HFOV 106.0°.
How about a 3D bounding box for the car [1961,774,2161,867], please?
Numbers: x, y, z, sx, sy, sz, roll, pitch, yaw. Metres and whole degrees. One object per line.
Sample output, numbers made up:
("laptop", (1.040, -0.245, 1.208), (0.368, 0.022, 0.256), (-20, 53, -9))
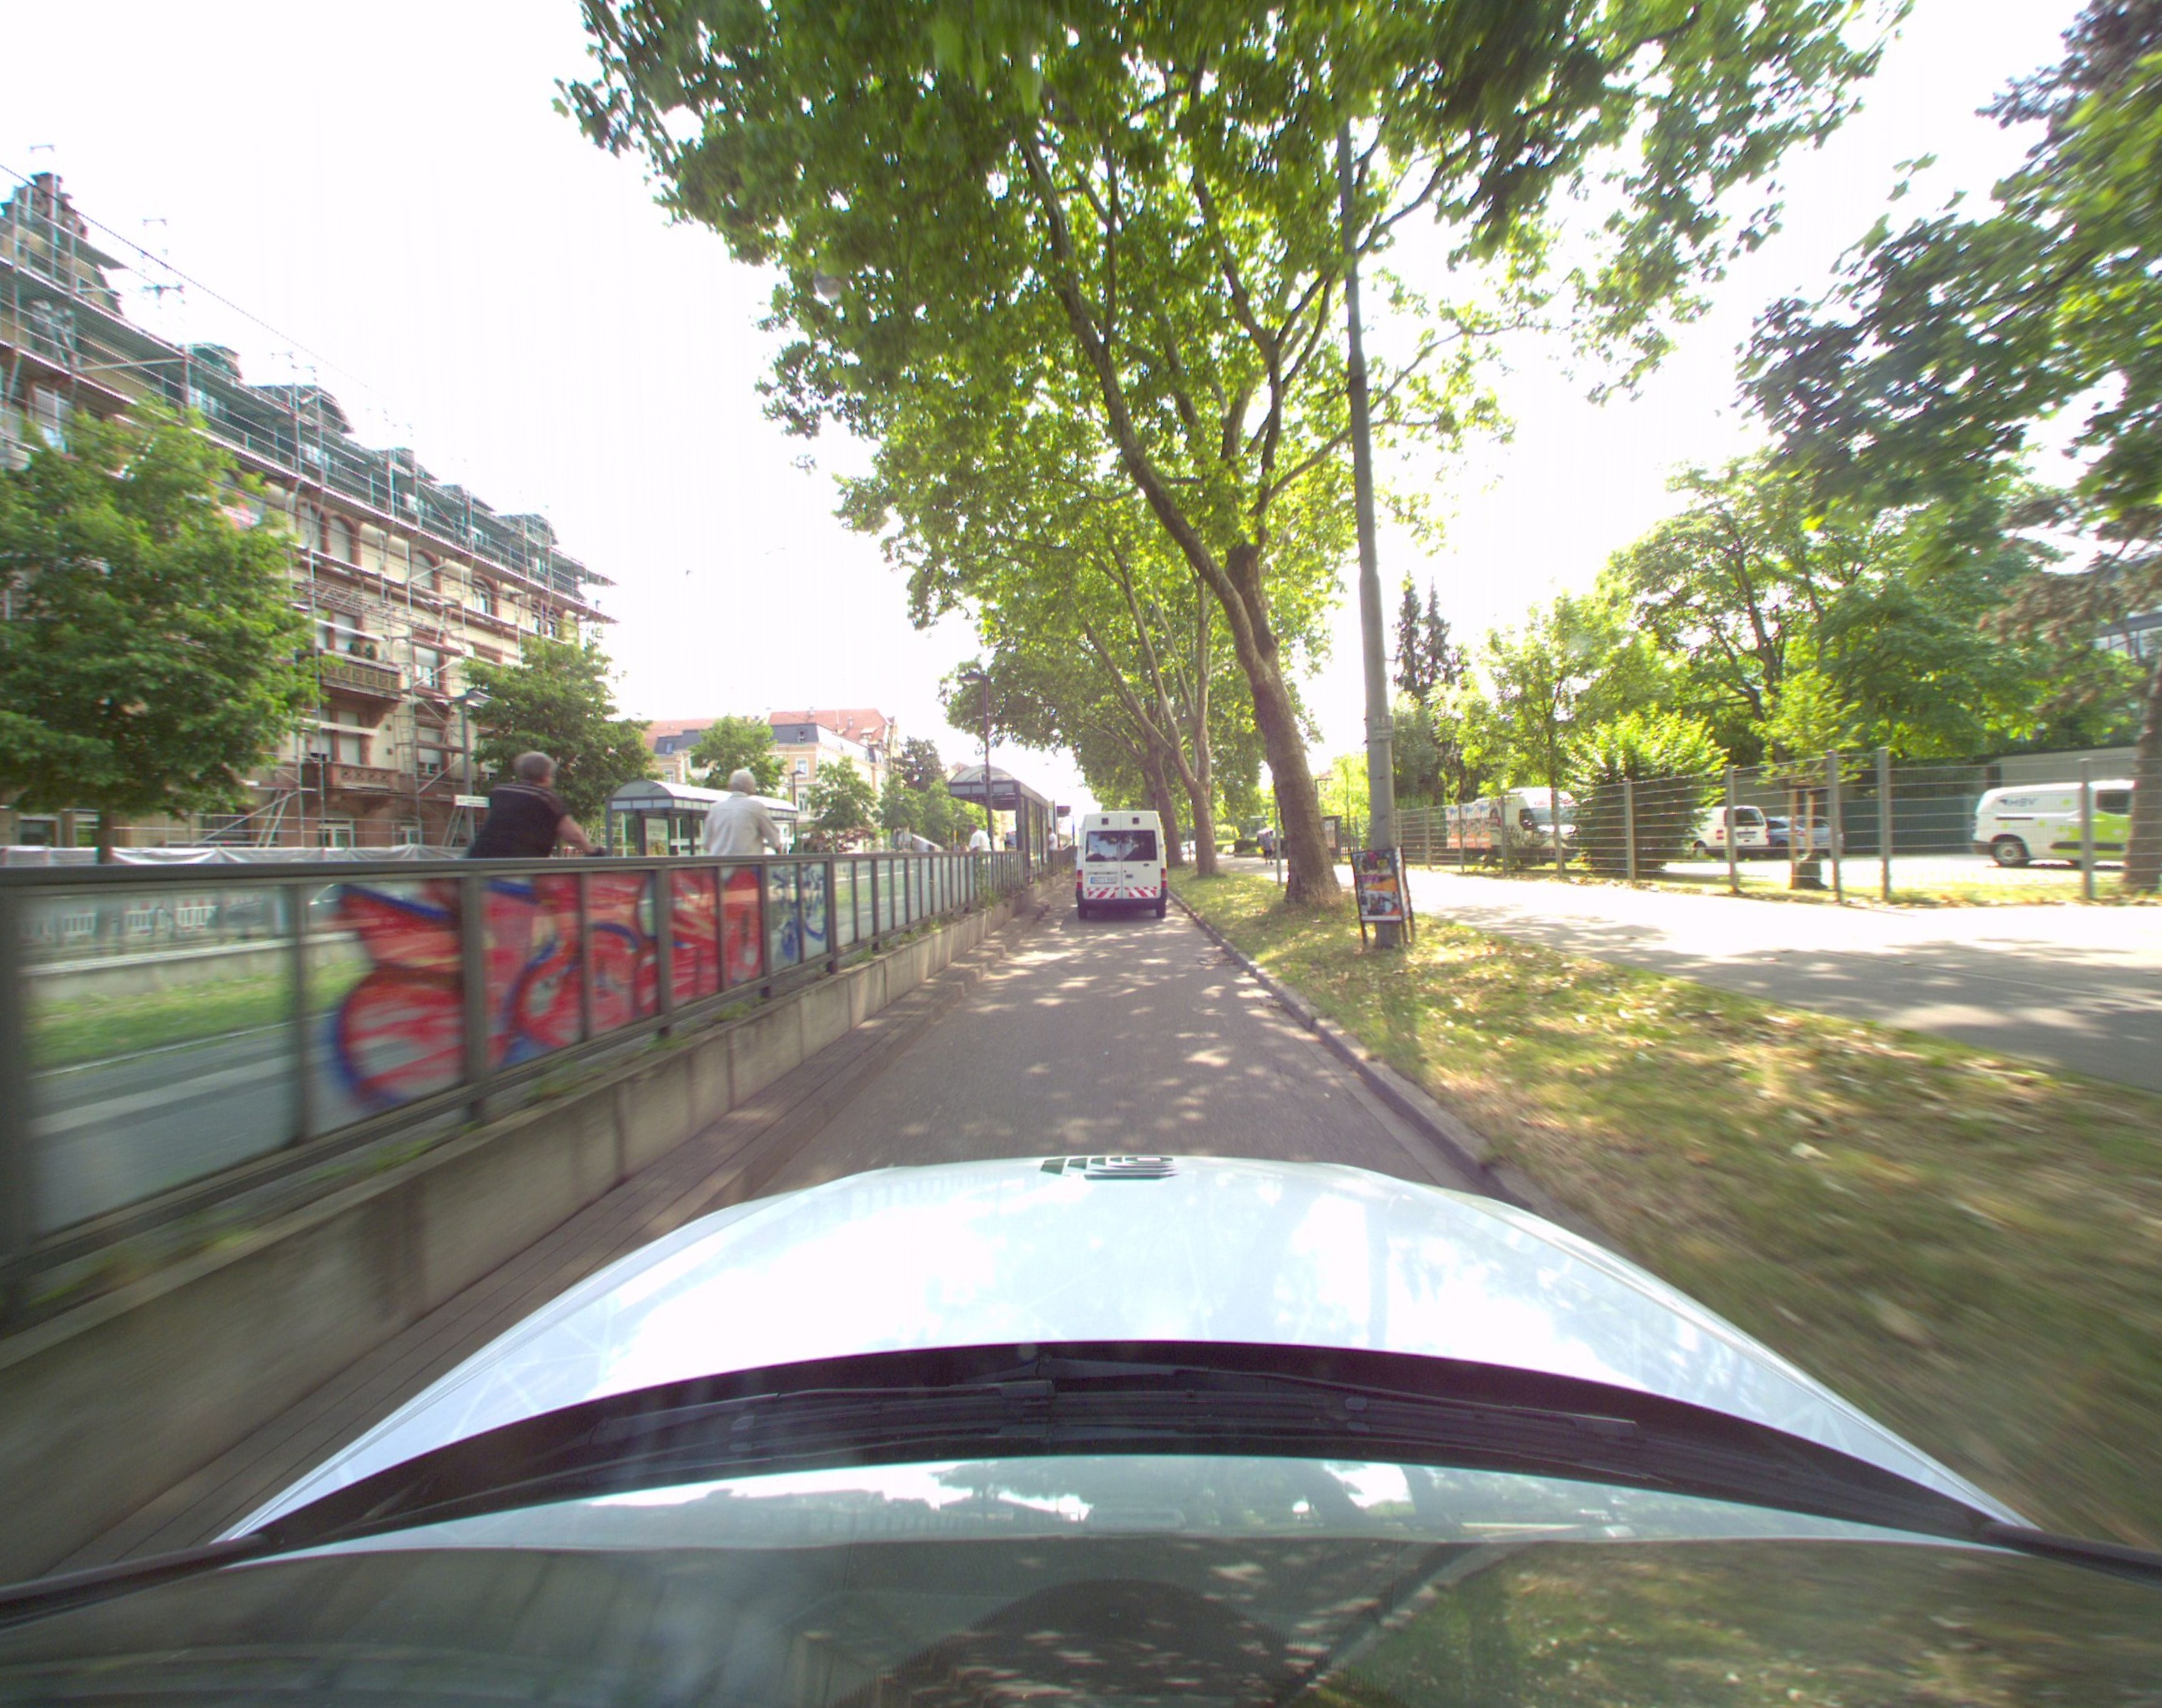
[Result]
("car", (21.285, -0.669, 16.510), (1.731, 1.755, 4.772), (-2, 0, 1))

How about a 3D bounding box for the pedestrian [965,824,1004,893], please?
("pedestrian", (-2.012, 0.092, 17.040), (0.673, 1.403, 0.596), (-2, 0, 1))

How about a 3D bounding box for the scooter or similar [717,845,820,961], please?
("scooter or similar", (-2.560, 0.388, 6.705), (0.652, 0.907, 0.389), (-2, 0, 1))

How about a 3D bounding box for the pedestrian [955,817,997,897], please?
("pedestrian", (-2.051, 0.058, 16.017), (0.673, 1.515, 0.596), (-2, 0, 1))

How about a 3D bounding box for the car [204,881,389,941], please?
("car", (-21.971, 1.543, 23.006), (1.712, 1.371, 3.479), (-2, 0, 2))

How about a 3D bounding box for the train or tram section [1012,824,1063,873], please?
("train or tram section", (-3.342, -0.458, 66.378), (2.713, 3.584, 13.025), (-2, 0, 3))

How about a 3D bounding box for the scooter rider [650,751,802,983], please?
("scooter rider", (-2.594, 0.083, 6.047), (0.652, 1.570, 0.901), (-2, 0, 2))

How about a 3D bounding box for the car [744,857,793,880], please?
("car", (-20.838, 0.950, 54.423), (1.712, 1.371, 3.479), (-2, 0, 2))

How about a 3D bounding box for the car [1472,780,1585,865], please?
("car", (15.926, -1.070, 29.248), (1.800, 2.774, 4.281), (-2, 0, 2))

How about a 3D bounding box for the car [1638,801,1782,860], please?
("car", (21.550, -0.770, 28.152), (1.799, 1.814, 4.344), (-2, 0, 4))

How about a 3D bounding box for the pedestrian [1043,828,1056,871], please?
("pedestrian", (-1.191, -0.168, 31.049), (0.384, 1.591, 0.439), (-2, 0, 1))

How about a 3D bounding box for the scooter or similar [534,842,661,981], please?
("scooter or similar", (-3.504, 0.403, 5.931), (0.630, 0.956, 0.421), (-2, 0, 1))

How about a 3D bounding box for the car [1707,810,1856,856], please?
("car", (24.086, -0.691, 28.217), (1.800, 1.402, 4.050), (-2, 0, 2))

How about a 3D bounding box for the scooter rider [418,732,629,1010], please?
("scooter rider", (-3.542, 0.097, 5.256), (0.652, 1.614, 0.901), (-2, 0, 2))

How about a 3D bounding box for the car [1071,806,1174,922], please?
("car", (0.901, 0.162, 19.180), (2.040, 2.333, 4.715), (-2, 1, 1))

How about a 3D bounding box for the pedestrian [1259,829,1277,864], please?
("pedestrian", (8.954, -0.375, 39.047), (0.691, 1.625, 0.637), (-2, 0, 1))
